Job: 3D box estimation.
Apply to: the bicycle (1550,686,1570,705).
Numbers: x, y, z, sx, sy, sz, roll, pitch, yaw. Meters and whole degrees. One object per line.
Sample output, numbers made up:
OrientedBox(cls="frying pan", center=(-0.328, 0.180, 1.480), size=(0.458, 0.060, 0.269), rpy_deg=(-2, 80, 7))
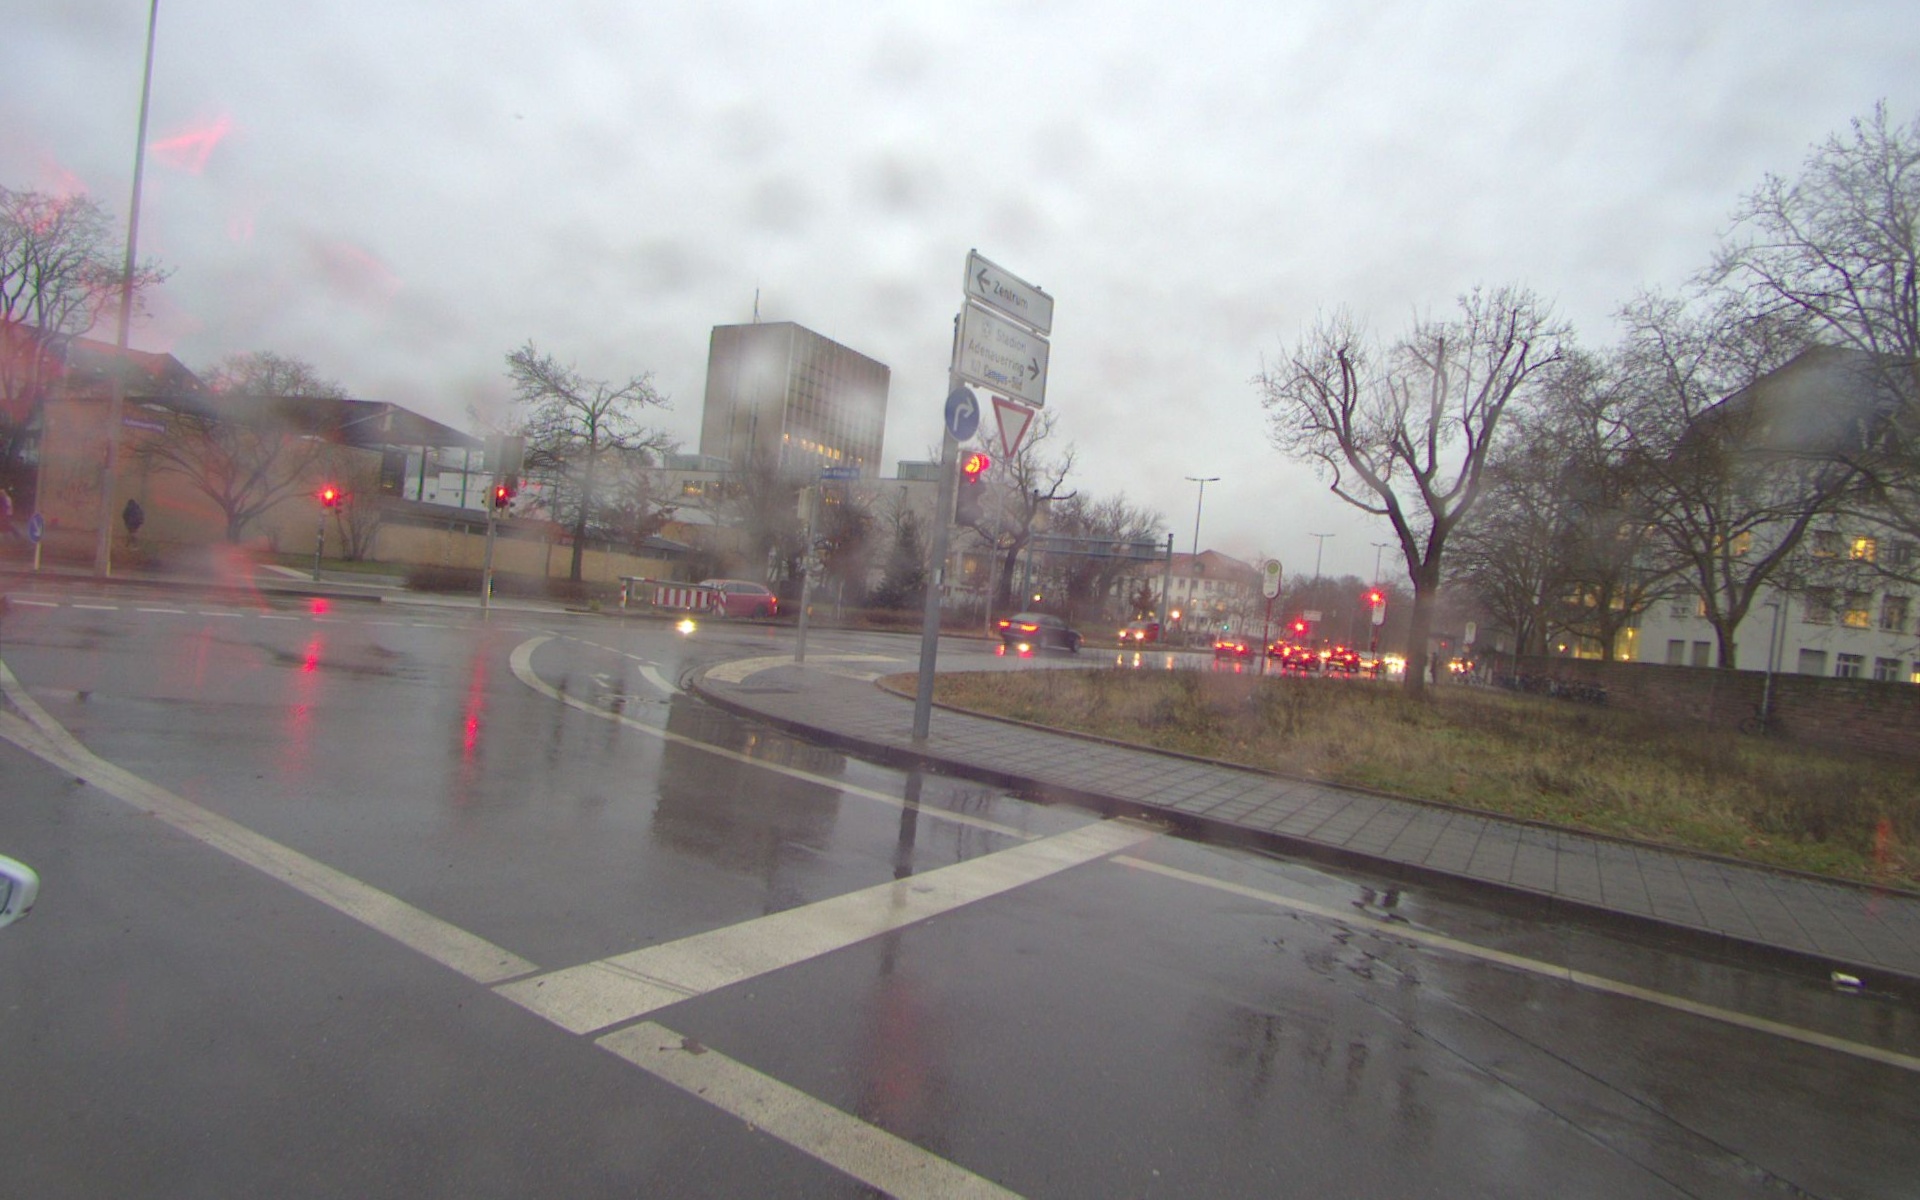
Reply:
OrientedBox(cls="bicycle", center=(31.352, 4.982, 52.554), size=(0.387, 0.868, 1.532), rpy_deg=(7, -2, 15))

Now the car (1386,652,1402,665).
OrientedBox(cls="car", center=(70.172, 9.484, 162.647), size=(1.834, 1.783, 3.993), rpy_deg=(7, 1, 27))

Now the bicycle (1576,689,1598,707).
OrientedBox(cls="bicycle", center=(30.544, 4.771, 48.998), size=(0.387, 0.795, 1.533), rpy_deg=(7, -2, 14))

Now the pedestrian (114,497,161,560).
OrientedBox(cls="pedestrian", center=(-30.039, -2.596, 36.742), size=(0.880, 2.141, 0.885), rpy_deg=(7, 2, 23))

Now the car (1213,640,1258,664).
OrientedBox(cls="car", center=(17.977, 3.402, 65.560), size=(1.673, 1.318, 3.757), rpy_deg=(6, 0, 32))

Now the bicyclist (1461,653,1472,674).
OrientedBox(cls="bicyclist", center=(42.662, 5.334, 84.783), size=(0.599, 1.660, 0.453), rpy_deg=(7, -1, 19))

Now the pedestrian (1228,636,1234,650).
OrientedBox(cls="pedestrian", center=(33.823, 5.375, 125.611), size=(0.404, 1.713, 0.427), rpy_deg=(7, 2, 28))

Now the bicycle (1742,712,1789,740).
OrientedBox(cls="bicycle", center=(28.197, 4.401, 35.223), size=(0.387, 0.834, 1.386), rpy_deg=(7, -2, -4))

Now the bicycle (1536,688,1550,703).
OrientedBox(cls="bicycle", center=(32.409, 5.293, 55.950), size=(0.387, 0.795, 1.607), rpy_deg=(7, -2, 22))

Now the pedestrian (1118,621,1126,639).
OrientedBox(cls="pedestrian", center=(15.850, 2.971, 98.649), size=(0.411, 1.725, 0.430), rpy_deg=(8, 3, 44))

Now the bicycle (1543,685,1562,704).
OrientedBox(cls="bicycle", center=(31.838, 5.077, 54.085), size=(0.387, 0.927, 1.532), rpy_deg=(7, -2, 15))

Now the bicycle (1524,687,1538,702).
OrientedBox(cls="bicycle", center=(32.837, 5.407, 57.864), size=(0.387, 0.795, 1.532), rpy_deg=(7, -2, 19))

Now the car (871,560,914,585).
OrientedBox(cls="car", center=(-7.083, -2.905, 106.494), size=(2.014, 2.102, 4.892), rpy_deg=(6, 0, 30))

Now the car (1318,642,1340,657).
OrientedBox(cls="car", center=(49.347, 6.633, 134.366), size=(1.966, 1.783, 3.992), rpy_deg=(7, 1, 29))

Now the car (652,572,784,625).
OrientedBox(cls="car", center=(-8.655, -0.030, 36.293), size=(1.784, 1.496, 4.411), rpy_deg=(6, 0, 37))

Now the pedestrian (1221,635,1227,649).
OrientedBox(cls="pedestrian", center=(32.970, 5.260, 125.665), size=(0.404, 1.713, 0.561), rpy_deg=(7, 2, 28))

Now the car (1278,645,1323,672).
OrientedBox(cls="car", center=(23.267, 3.977, 68.664), size=(1.811, 1.602, 4.126), rpy_deg=(6, 0, 32))

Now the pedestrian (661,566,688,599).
OrientedBox(cls="pedestrian", center=(-15.106, -0.935, 53.242), size=(0.783, 1.624, 0.960), rpy_deg=(8, 2, 39))

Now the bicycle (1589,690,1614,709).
OrientedBox(cls="bicycle", center=(30.271, 4.675, 47.474), size=(0.352, 0.795, 1.415), rpy_deg=(7, -2, 8))

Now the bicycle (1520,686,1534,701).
OrientedBox(cls="bicycle", center=(33.319, 5.490, 59.142), size=(0.387, 0.795, 1.532), rpy_deg=(7, -2, 20))

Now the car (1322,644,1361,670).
OrientedBox(cls="car", center=(29.305, 4.419, 77.226), size=(1.812, 1.710, 4.312), rpy_deg=(6, -1, 34))

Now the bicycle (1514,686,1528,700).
OrientedBox(cls="bicycle", center=(33.826, 5.617, 60.661), size=(0.387, 0.795, 1.532), rpy_deg=(7, -2, 20))

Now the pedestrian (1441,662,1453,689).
OrientedBox(cls="pedestrian", center=(38.118, 5.867, 78.696), size=(0.557, 2.040, 0.595), rpy_deg=(8, 2, 33))

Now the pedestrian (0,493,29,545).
OrientedBox(cls="pedestrian", center=(-30.516, -2.611, 32.106), size=(1.026, 1.553, 0.924), rpy_deg=(7, 2, 36))

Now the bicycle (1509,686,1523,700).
OrientedBox(cls="bicycle", center=(34.346, 5.745, 62.149), size=(0.387, 0.795, 1.532), rpy_deg=(7, -2, 20))

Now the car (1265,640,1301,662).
OrientedBox(cls="car", center=(27.095, 4.303, 84.405), size=(1.811, 1.602, 4.127), rpy_deg=(6, 0, 32))

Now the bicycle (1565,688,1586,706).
OrientedBox(cls="bicycle", center=(31.034, 4.878, 50.742), size=(0.343, 0.848, 1.493), rpy_deg=(7, -2, 13))

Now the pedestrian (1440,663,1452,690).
OrientedBox(cls="pedestrian", center=(30.148, 4.737, 62.416), size=(0.462, 1.623, 0.486), rpy_deg=(7, -1, 25))

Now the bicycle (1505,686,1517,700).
OrientedBox(cls="bicycle", center=(34.847, 5.870, 63.623), size=(0.387, 0.795, 1.532), rpy_deg=(7, -2, 20))

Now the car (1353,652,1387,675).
OrientedBox(cls="car", center=(34.246, 5.290, 83.981), size=(1.811, 1.710, 4.311), rpy_deg=(6, 0, 32))

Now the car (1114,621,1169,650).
OrientedBox(cls="car", center=(14.146, 2.763, 78.097), size=(2.016, 1.903, 5.320), rpy_deg=(6, 0, 35))

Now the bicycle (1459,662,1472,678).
OrientedBox(cls="bicycle", center=(42.586, 5.899, 84.769), size=(0.599, 1.181, 1.682), rpy_deg=(7, -2, 19))

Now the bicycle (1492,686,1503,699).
OrientedBox(cls="bicycle", center=(36.387, 6.251, 68.104), size=(0.387, 0.795, 1.532), rpy_deg=(7, -2, 20))

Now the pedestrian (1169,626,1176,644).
OrientedBox(cls="pedestrian", center=(21.272, 3.466, 100.692), size=(0.411, 1.725, 0.430), rpy_deg=(8, 3, 44))

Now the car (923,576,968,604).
OrientedBox(cls="car", center=(-1.438, -0.991, 103.215), size=(2.014, 2.452, 5.326), rpy_deg=(6, 0, 30))

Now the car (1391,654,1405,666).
OrientedBox(cls="car", center=(74.397, 10.228, 170.898), size=(1.834, 1.783, 3.993), rpy_deg=(7, 1, 27))

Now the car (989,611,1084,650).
OrientedBox(cls="car", center=(3.401, 1.350, 43.764), size=(1.909, 1.318, 4.683), rpy_deg=(6, 0, 36))

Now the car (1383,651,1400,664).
OrientedBox(cls="car", center=(66.985, 8.962, 156.192), size=(1.965, 1.783, 3.993), rpy_deg=(7, 1, 27))

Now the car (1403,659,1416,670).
OrientedBox(cls="car", center=(82.279, 11.785, 184.106), size=(1.834, 1.783, 3.993), rpy_deg=(7, 1, 27))
